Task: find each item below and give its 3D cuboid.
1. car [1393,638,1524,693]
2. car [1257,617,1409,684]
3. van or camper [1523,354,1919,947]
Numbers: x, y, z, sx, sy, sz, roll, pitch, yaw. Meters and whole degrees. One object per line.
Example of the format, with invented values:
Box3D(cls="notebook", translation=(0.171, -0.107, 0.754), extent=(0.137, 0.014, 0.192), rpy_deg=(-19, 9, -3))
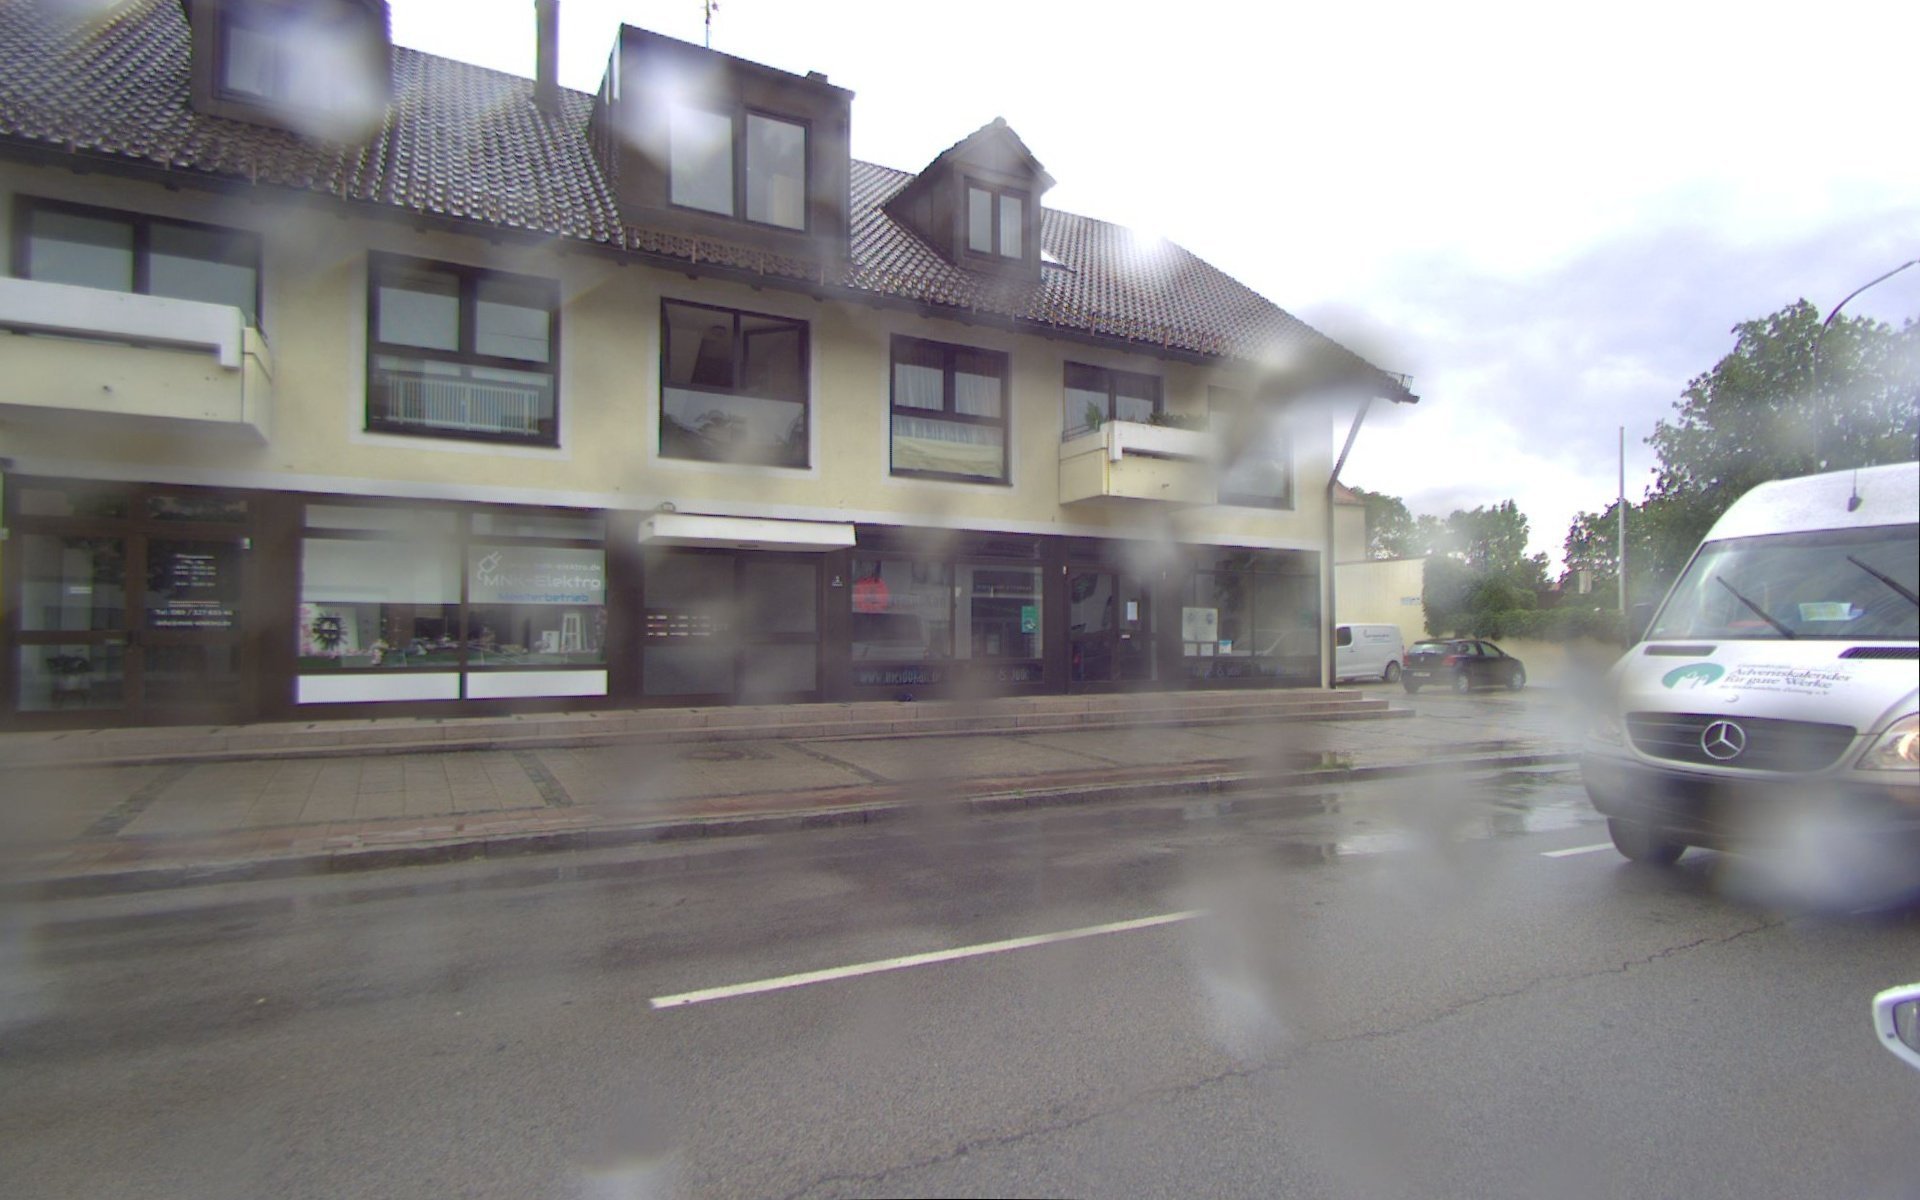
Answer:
Box3D(cls="car", translation=(13.543, 1.754, 27.272), extent=(3.469, 1.398, 1.599), rpy_deg=(2, -3, -31))
Box3D(cls="car", translation=(11.717, 1.587, 31.506), extent=(4.682, 1.944, 1.956), rpy_deg=(2, -3, -31))
Box3D(cls="van or camper", translation=(6.740, 0.333, 6.925), extent=(6.193, 2.743, 2.085), rpy_deg=(2, -2, -29))
